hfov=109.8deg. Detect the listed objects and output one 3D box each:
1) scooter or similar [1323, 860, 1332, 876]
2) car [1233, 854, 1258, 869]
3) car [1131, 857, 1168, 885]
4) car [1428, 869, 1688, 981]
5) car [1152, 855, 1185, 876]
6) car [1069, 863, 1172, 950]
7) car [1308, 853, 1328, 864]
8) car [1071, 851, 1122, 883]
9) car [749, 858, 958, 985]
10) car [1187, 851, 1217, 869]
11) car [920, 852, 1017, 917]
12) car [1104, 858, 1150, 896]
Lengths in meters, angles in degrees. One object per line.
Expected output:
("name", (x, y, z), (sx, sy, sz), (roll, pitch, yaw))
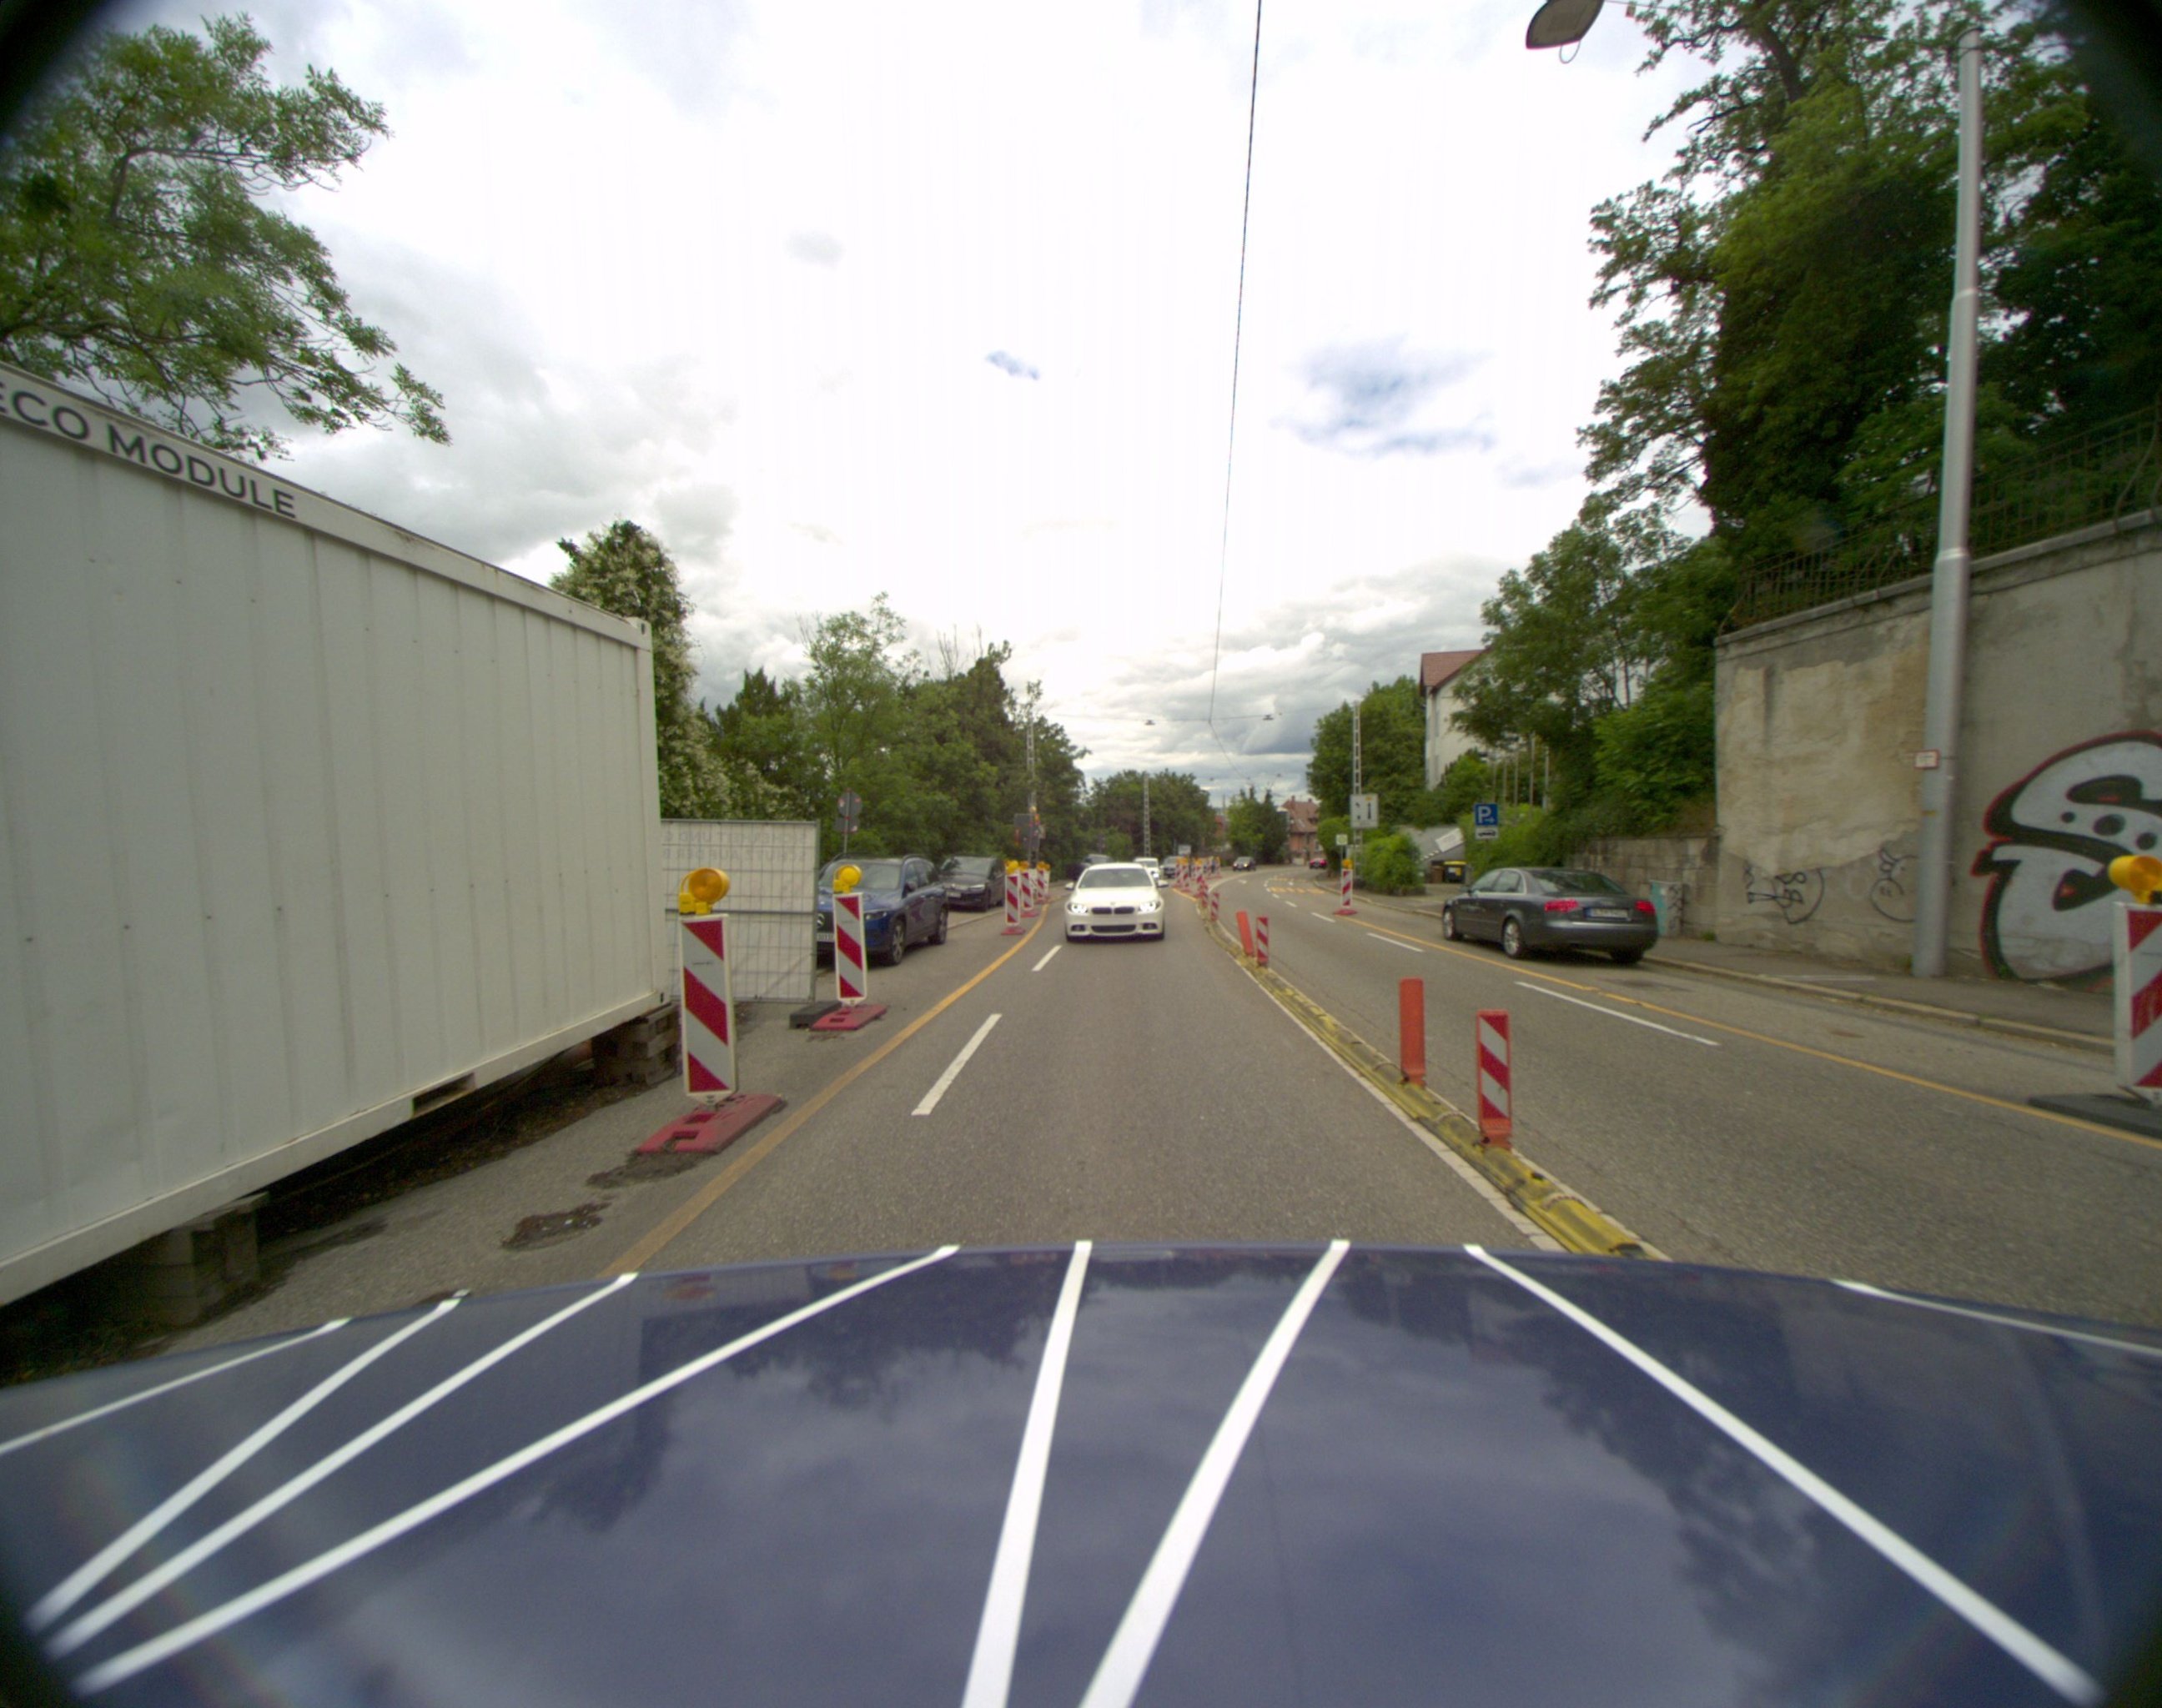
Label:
("scooter or similar", (18.855, 1.047, 58.131), (0.429, 1.202, 1.282), (-2, 0, 7))
("car", (16.819, 0.720, 77.553), (1.789, 1.472, 4.251), (-1, 0, 21))
("car", (4.002, 0.939, 43.958), (1.790, 1.542, 4.248), (-1, 0, 10))
("car", (7.413, 0.999, 12.437), (1.803, 1.365, 4.390), (2, 0, 6))
("car", (6.660, 0.833, 57.565), (1.796, 1.501, 4.005), (1, 1, 16))
("car", (0.716, 0.958, 15.617), (1.792, 1.471, 4.245), (-2, 0, 0))
("car", (30.135, 0.579, 96.403), (1.822, 1.383, 4.446), (2, 1, 25))
("car", (0.966, 0.741, 45.502), (1.855, 1.664, 4.284), (6, 2, 16))
("car", (-3.508, 0.930, 12.699), (1.843, 1.633, 4.503), (2, 0, 4))
("car", (10.852, 0.509, 67.828), (1.796, 1.501, 4.006), (-1, 1, 21))
("car", (-3.345, 0.846, 23.491), (1.866, 1.664, 4.648), (4, 1, 4))
("car", (2.003, 0.929, 32.296), (1.791, 1.471, 4.246), (-2, 0, 5))
